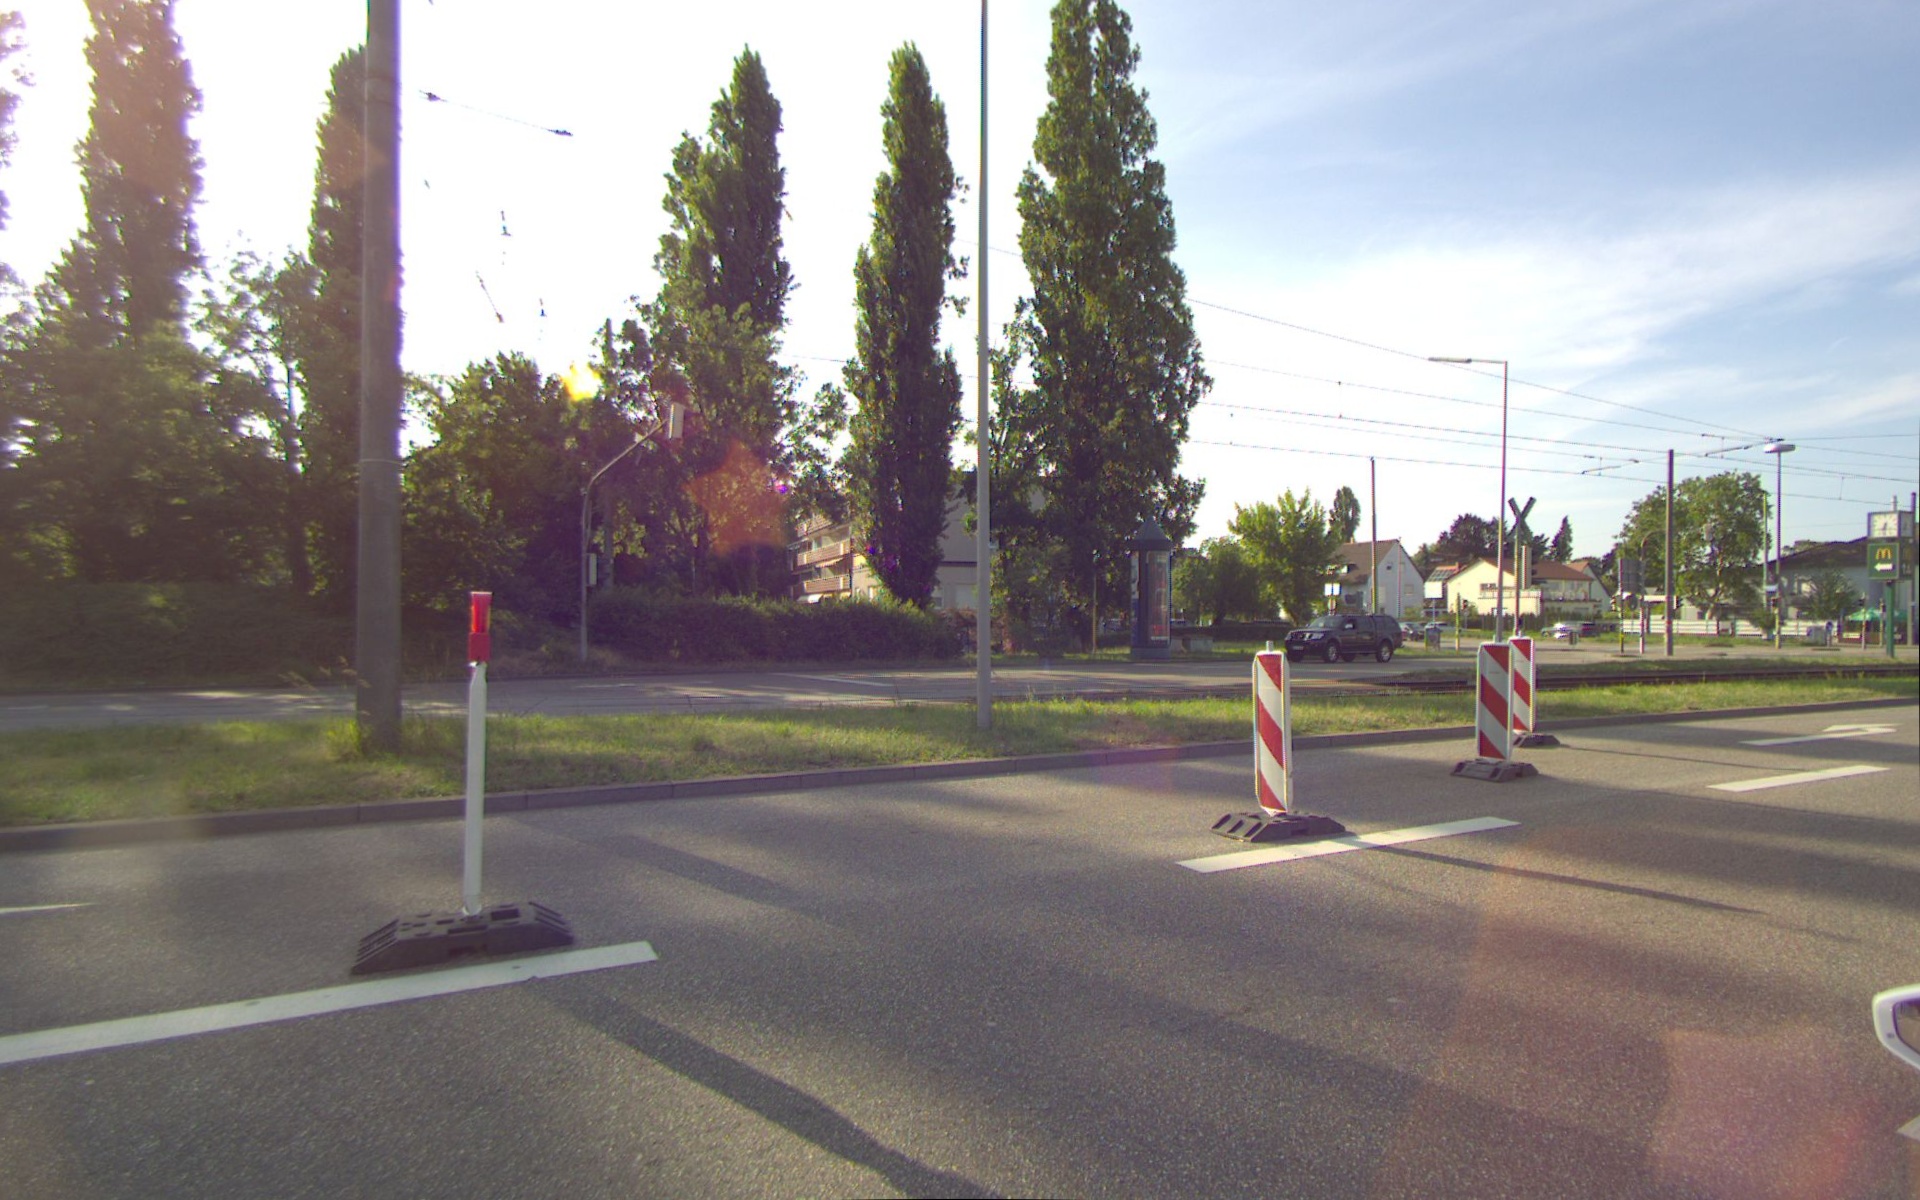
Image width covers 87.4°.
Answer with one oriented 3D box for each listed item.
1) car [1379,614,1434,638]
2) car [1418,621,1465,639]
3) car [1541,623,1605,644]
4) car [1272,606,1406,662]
[{"bbox_3d":[34.494,1.986,77.687,1.498,1.816,3.977,1,-1,-23],"label":"car"},{"bbox_3d":[49.648,3.084,103.573,4.155,1.706,1.991,2,0,-19],"label":"car"},{"bbox_3d":[47.447,2.572,77.816,1.968,1.506,3.985,1,-1,-18],"label":"car"},{"bbox_3d":[14.714,1.280,38.924,5.295,2.040,1.984,1,-1,-30],"label":"car"}]
